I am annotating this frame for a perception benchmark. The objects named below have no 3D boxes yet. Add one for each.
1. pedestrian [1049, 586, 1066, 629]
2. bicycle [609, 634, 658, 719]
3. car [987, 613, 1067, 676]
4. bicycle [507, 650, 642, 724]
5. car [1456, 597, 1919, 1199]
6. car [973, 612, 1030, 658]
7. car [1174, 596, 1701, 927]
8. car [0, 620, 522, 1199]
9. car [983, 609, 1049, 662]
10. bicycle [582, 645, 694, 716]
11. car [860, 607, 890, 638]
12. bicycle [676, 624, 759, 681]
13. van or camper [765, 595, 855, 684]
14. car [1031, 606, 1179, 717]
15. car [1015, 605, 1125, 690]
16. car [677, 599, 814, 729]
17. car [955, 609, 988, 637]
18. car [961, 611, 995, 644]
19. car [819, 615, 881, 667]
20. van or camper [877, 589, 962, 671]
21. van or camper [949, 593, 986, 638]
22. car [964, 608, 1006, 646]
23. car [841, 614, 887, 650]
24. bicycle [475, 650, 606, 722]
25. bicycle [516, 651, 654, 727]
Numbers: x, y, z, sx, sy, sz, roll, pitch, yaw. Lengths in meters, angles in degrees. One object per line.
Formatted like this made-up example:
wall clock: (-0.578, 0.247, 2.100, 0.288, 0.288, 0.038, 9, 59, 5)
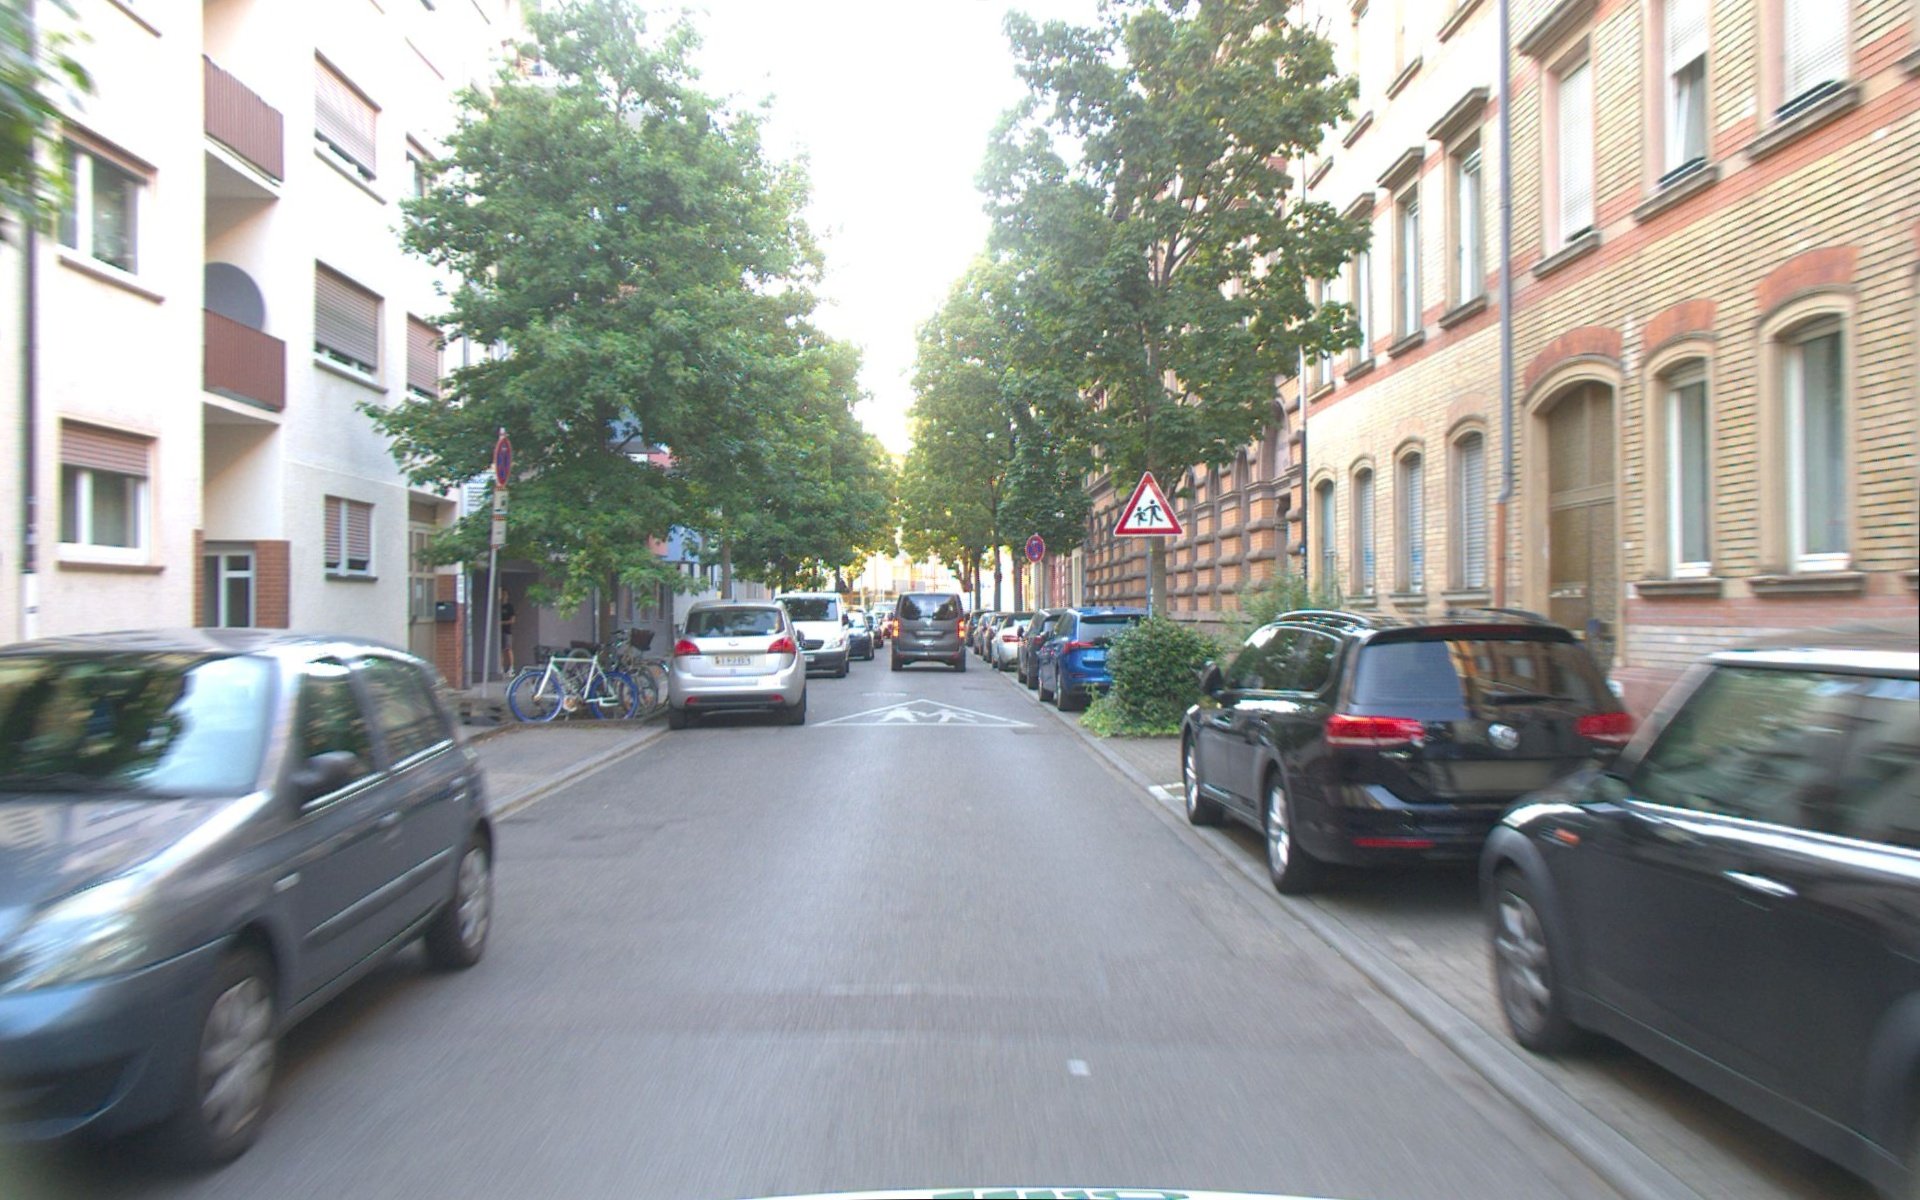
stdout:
pedestrian: (3.811, 0.298, 64.597, 0.614, 1.677, 0.531, 0, -1, -1)
bicycle: (-4.537, 1.050, 23.052, 0.411, 1.123, 1.664, 0, -1, -2)
car: (1.635, 1.081, 41.722, 1.659, 1.426, 4.644, -2, 0, -2)
bicycle: (-4.996, 1.122, 21.495, 1.682, 0.914, 0.379, 0, -1, -32)
car: (2.739, 0.728, 4.398, 1.603, 1.449, 3.562, -2, 0, -3)
car: (1.442, 1.229, 58.963, 1.664, 1.508, 3.997, -3, 0, -4)
car: (2.501, 0.757, 9.884, 1.731, 1.439, 4.472, -3, 0, -1)
car: (-2.678, 0.809, 5.451, 1.548, 1.445, 3.751, -1, 0, -2)
car: (1.623, 1.038, 49.062, 1.687, 1.475, 4.213, -2, -1, -2)
bicycle: (-4.801, 1.191, 24.634, 1.694, 1.012, 0.575, -1, 0, 32)
car: (-4.620, 1.220, 90.027, 1.597, 1.455, 3.542, -1, 3, -2)
bicycle: (-5.391, 1.156, 36.872, 0.686, 1.184, 1.813, -2, 0, 40)
van or camper: (-3.367, 0.863, 37.941, 1.839, 1.875, 4.750, -1, 0, -3)
car: (2.096, 0.860, 24.959, 1.595, 1.492, 4.242, -1, 0, -3)
car: (2.039, 0.871, 31.759, 1.677, 1.503, 4.190, -1, 0, -2)
car: (-2.853, 0.814, 22.692, 1.630, 1.590, 3.996, -1, 0, -5)
car: (0.622, 1.247, 89.977, 1.715, 1.497, 3.775, 0, -1, -1)
car: (0.861, 1.268, 77.253, 1.519, 1.523, 3.611, 0, -1, 1)
car: (-3.442, 1.259, 52.196, 1.793, 1.544, 4.514, -1, -1, -2)
van or camper: (-0.969, 0.734, 41.626, 1.993, 1.931, 4.270, 0, -1, 0)
van or camper: (0.410, 0.924, 100.958, 1.954, 2.644, 5.421, 0, -1, -3)
car: (1.079, 1.174, 72.840, 1.580, 1.586, 3.763, -1, 0, -3)
car: (-4.048, 1.332, 70.331, 1.809, 1.477, 4.501, 0, 0, -1)
bicycle: (-5.537, 1.123, 21.850, 1.643, 0.914, 0.379, 0, -1, -32)
bicycle: (-4.770, 1.118, 21.100, 1.682, 0.923, 0.379, 0, -1, -32)
